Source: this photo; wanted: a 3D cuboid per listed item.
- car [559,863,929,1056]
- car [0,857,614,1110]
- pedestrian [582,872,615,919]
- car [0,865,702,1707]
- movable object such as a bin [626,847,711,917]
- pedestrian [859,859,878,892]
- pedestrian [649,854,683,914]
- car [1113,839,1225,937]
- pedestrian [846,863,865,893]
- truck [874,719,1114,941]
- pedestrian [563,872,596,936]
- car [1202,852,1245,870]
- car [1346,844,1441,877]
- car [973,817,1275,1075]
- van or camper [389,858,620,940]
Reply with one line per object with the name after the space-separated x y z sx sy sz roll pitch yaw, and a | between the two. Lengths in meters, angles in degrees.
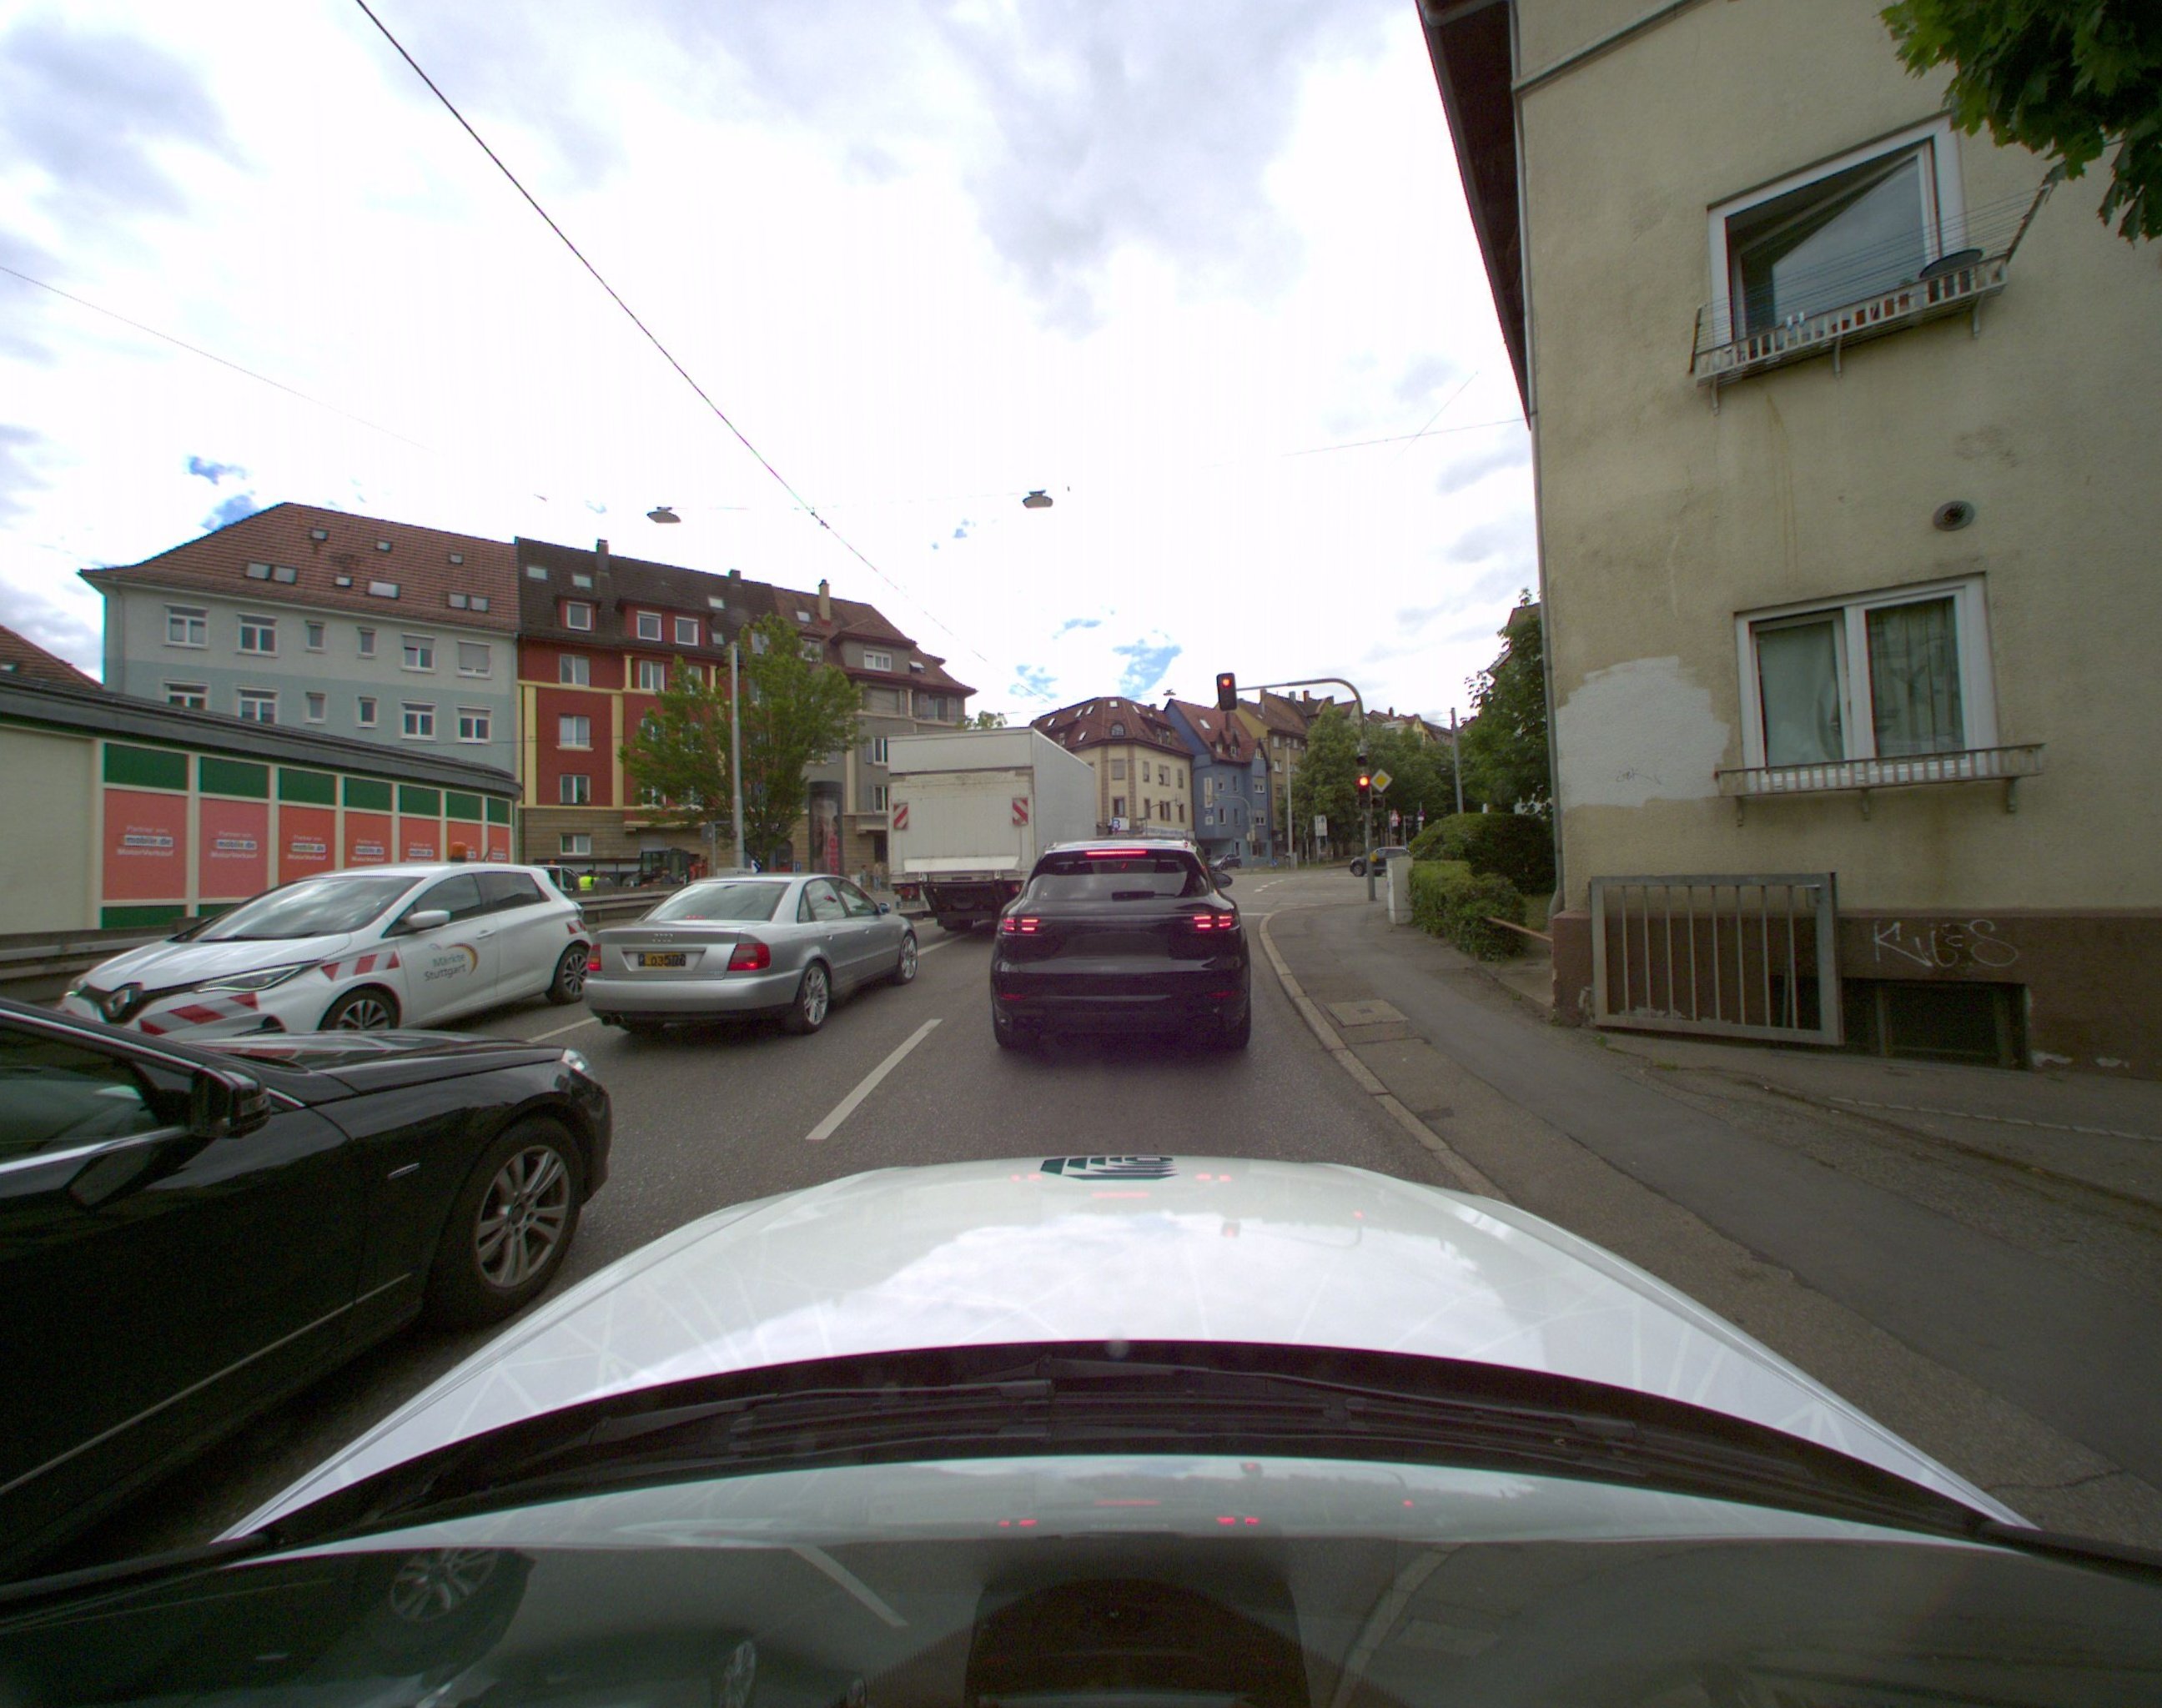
-2.963 0.832 8.241 1.620 1.365 4.135 -2 0 6 | car
-6.241 0.838 7.224 1.765 1.521 4.083 -3 0 0 | car
-14.700 1.254 24.799 0.594 1.363 0.630 -2 0 35 | pedestrian
-2.877 0.806 1.418 1.986 1.429 4.844 -2 0 2 | car
-13.149 0.844 26.156 1.375 2.013 3.524 -2 0 -10 | movable object such as a bin
-9.850 0.988 37.688 0.657 1.487 0.517 -2 0 -40 | pedestrian
-11.855 0.841 23.290 0.690 1.637 0.774 -2 0 -19 | pedestrian
1.714 0.562 14.878 1.638 1.556 3.595 -1 -1 12 | car
-10.316 1.091 37.220 0.569 1.338 0.587 -2 0 44 | pedestrian
-1.294 -0.392 17.516 2.708 3.544 8.446 -2 0 10 | truck
-16.479 1.628 26.734 0.830 2.013 0.672 -1 0 -37 | pedestrian
12.449 0.599 71.007 1.700 1.477 4.244 -2 -3 42 | car
15.386 0.295 40.227 2.008 1.530 3.957 0 0 -35 | car
0.359 0.636 7.737 2.024 1.723 4.502 0 0 2 | car
-18.990 1.388 27.267 6.028 2.338 2.661 -1 0 -33 | van or camper
